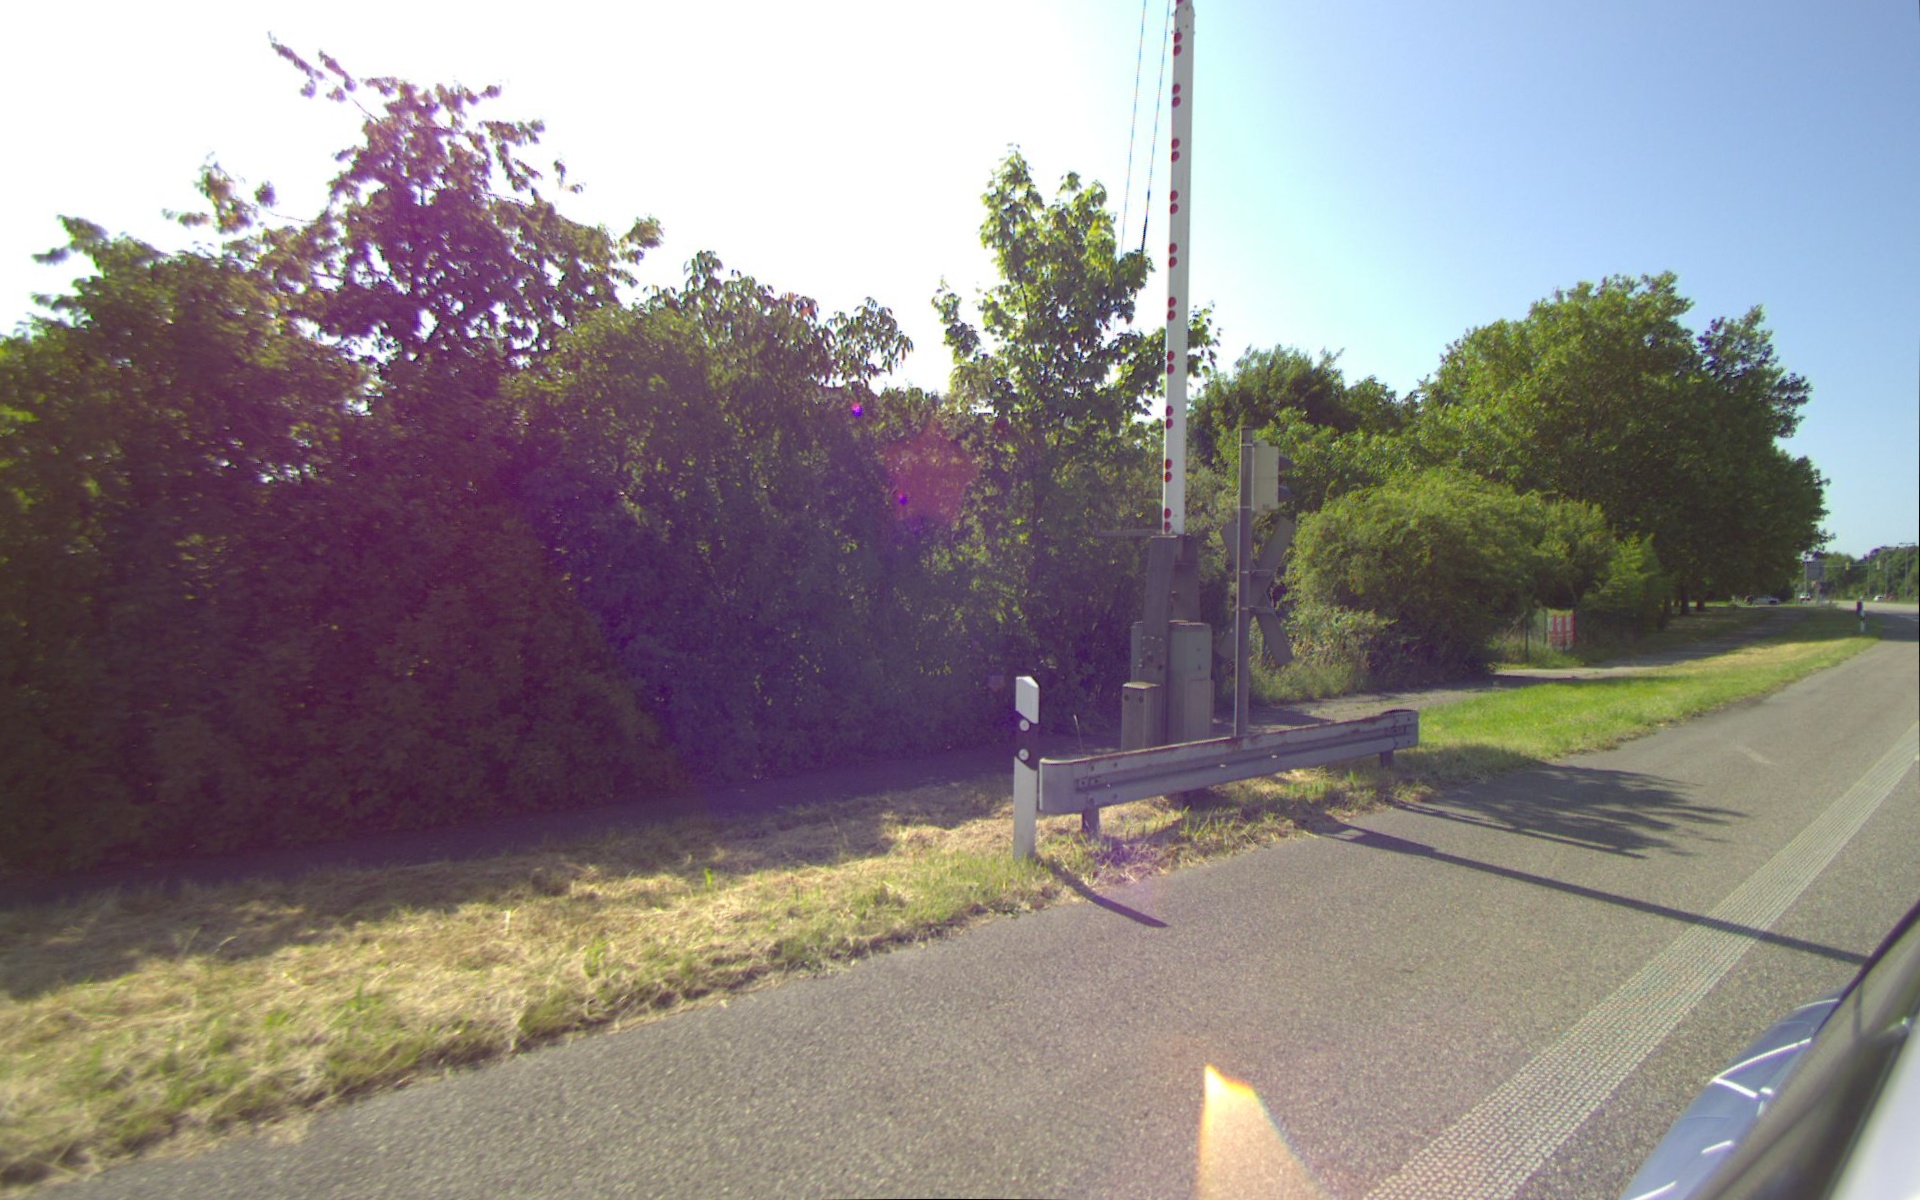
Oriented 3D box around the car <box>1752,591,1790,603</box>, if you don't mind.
[{"bbox_3d":[115.703,-0.454,144.420,4.043,1.584,1.718,-3,-1,39],"label":"car"}]
